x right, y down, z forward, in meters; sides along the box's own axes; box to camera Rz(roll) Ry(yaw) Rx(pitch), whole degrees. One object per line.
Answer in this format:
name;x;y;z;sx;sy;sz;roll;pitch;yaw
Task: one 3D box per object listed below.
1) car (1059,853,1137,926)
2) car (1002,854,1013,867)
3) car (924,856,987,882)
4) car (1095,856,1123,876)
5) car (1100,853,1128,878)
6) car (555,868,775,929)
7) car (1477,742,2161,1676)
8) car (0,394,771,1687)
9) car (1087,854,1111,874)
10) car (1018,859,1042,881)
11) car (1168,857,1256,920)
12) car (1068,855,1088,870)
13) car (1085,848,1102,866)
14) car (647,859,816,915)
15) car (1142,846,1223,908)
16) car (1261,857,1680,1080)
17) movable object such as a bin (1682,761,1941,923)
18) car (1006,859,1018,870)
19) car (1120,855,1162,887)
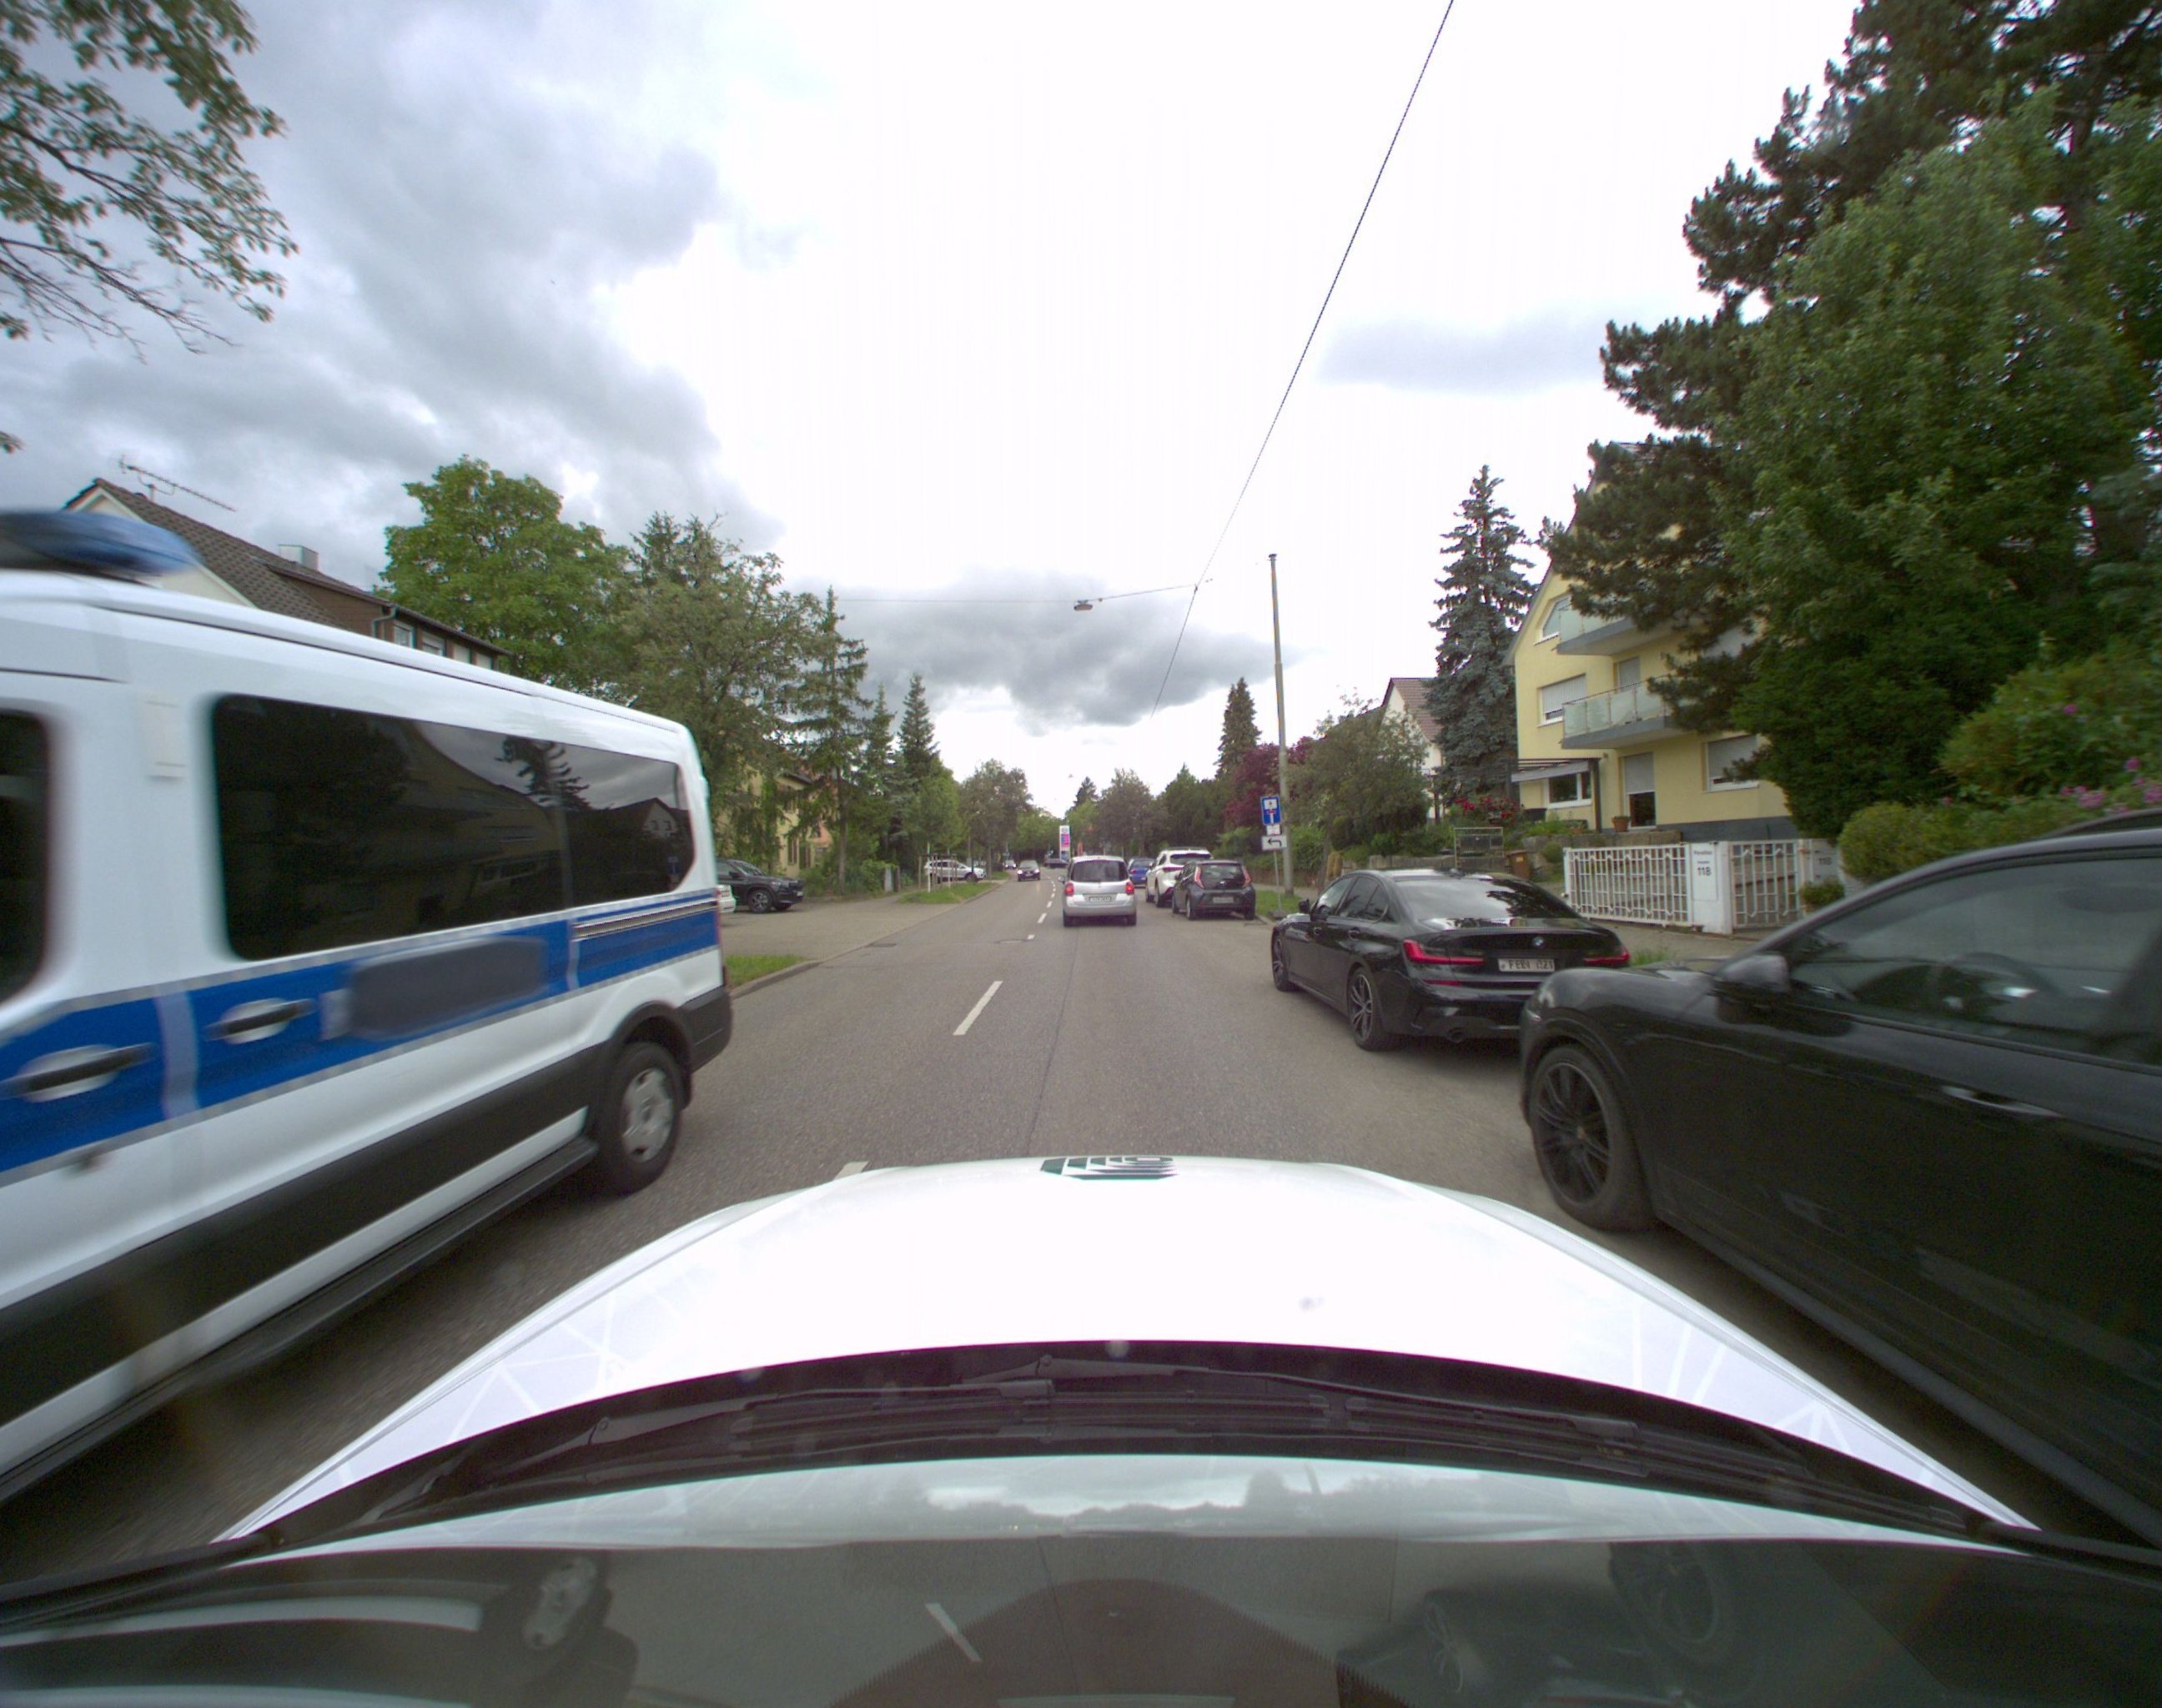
car;0.398;0.780;19.344;1.673;1.560;3.512;-1;0;1
car;-13.921;1.215;154.636;1.932;2.408;3.991;-1;0;-6
car;-8.745;1.024;57.024;4.075;1.706;1.746;-1;0;-2
car;2.089;0.916;61.808;1.694;1.433;4.333;-2;0;-4
car;2.263;0.751;56.657;1.690;1.557;3.954;-2;1;-1
car;-9.804;1.032;19.475;4.272;1.368;1.813;0;-1;-6
car;2.905;0.647;1.953;1.823;1.712;4.551;0;0;2
car;-3.196;0.396;2.736;2.066;2.582;5.300;-4;0;1
car;1.477;0.839;67.990;1.691;1.570;3.952;-2;0;-2
car;-3.762;1.131;60.205;1.571;1.472;3.467;-4;0;-2
car;3.262;0.811;20.829;1.554;1.443;3.503;0;0;-3
car;-0.296;0.917;87.642;1.694;1.506;3.963;-1;0;-7
car;2.020;0.438;133.109;2.277;2.911;5.271;0;0;-4
car;-10.681;0.980;25.111;4.317;1.618;1.974;-1;-1;2
car;3.101;0.666;25.783;1.794;1.778;4.700;0;0;-2
car;3.093;0.769;7.687;1.824;1.457;4.550;0;0;1
movable object such as a bin;9.662;-0.147;10.877;2.306;2.014;1.341;0;-1;-4
car;-10.322;1.539;121.698;1.543;1.470;3.732;-3;0;-7
car;2.964;0.839;40.942;1.623;1.452;3.872;-3;0;-3
